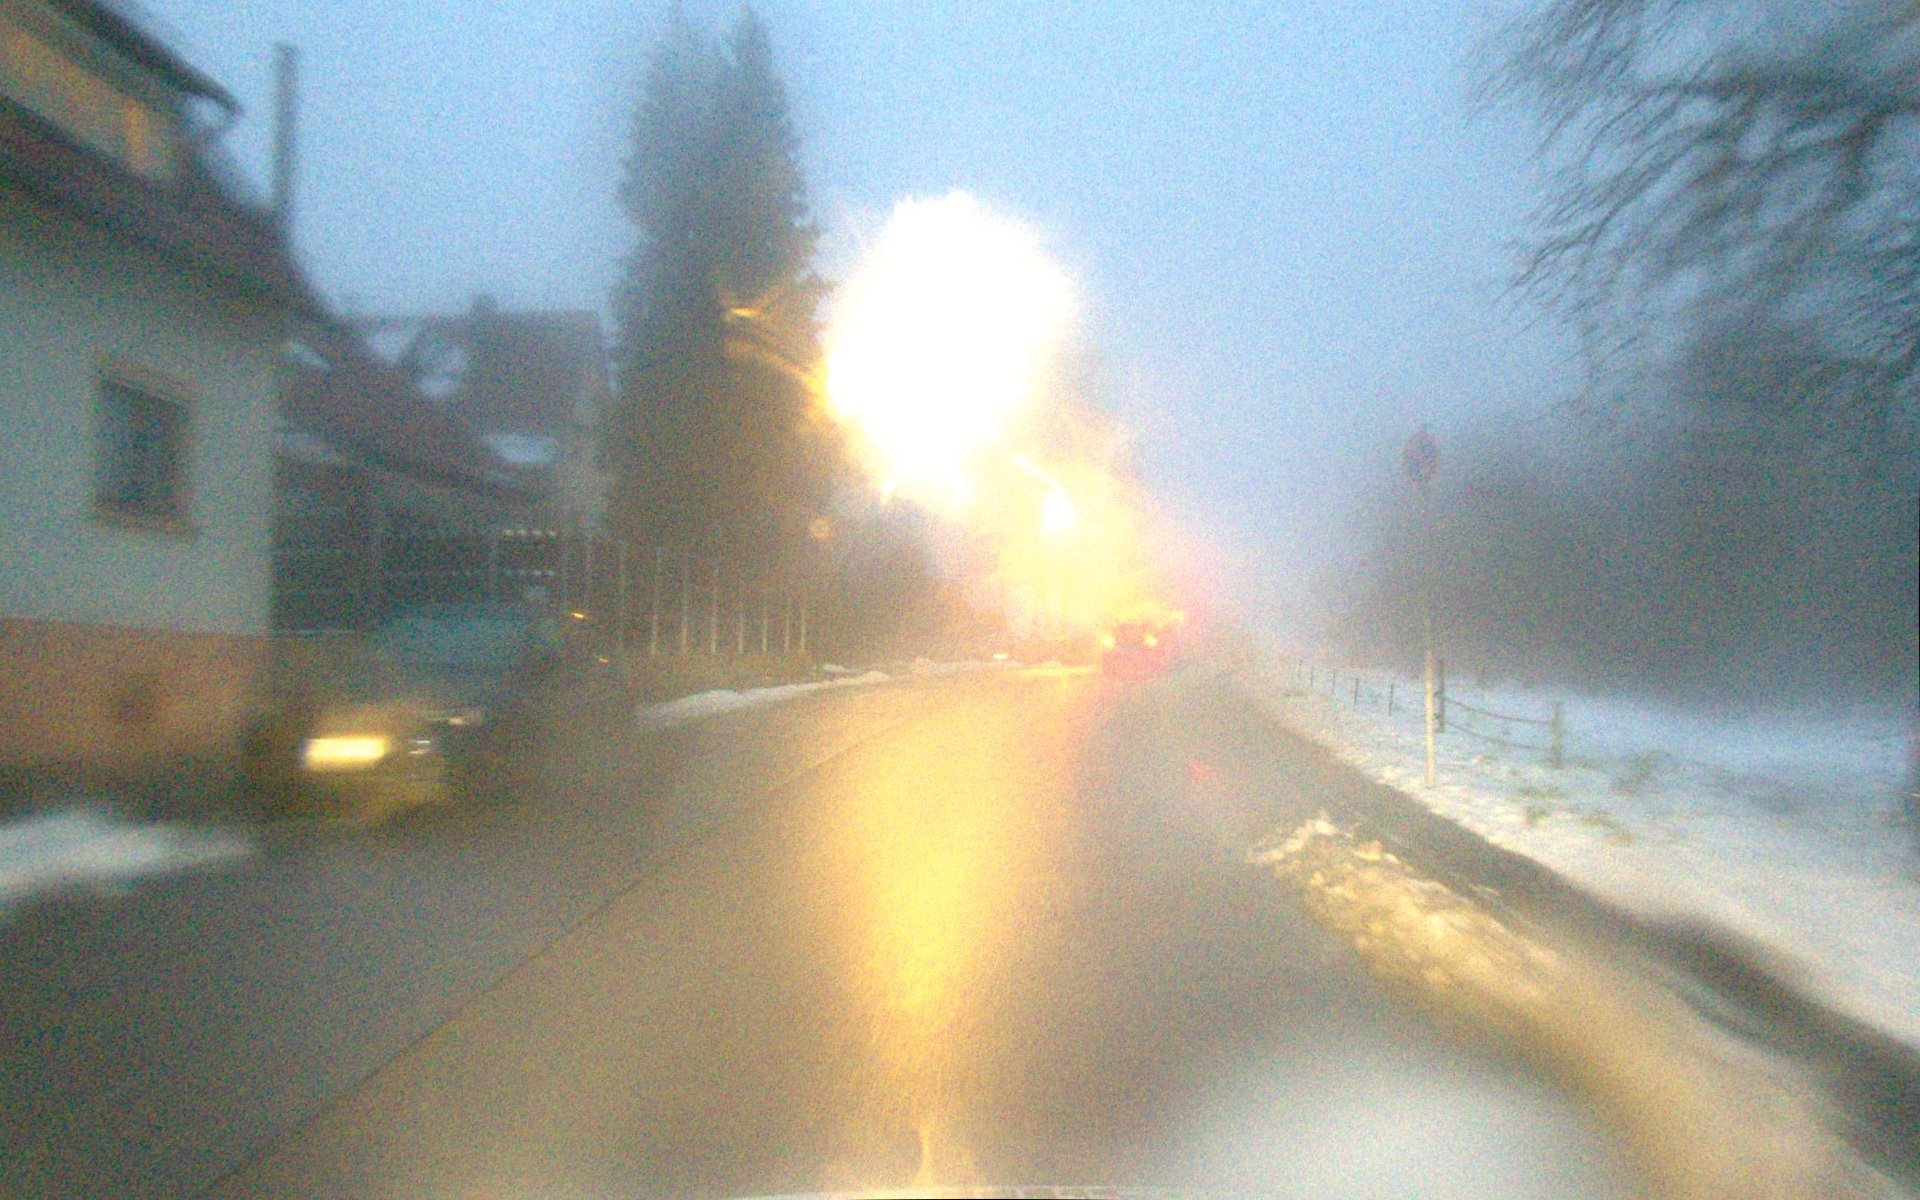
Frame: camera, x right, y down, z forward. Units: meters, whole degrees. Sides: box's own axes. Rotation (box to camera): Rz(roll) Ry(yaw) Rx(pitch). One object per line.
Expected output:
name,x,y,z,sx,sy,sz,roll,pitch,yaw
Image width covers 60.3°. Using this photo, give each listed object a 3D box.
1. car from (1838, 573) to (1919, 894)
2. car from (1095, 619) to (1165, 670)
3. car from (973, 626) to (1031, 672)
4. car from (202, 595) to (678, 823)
car,6.375,0.762,6.808,4.357,1.405,2.037,5,0,5
car,5.148,1.322,49.667,1.951,1.445,4.003,0,-1,8
car,1.642,1.986,66.400,1.954,1.594,4.994,-3,-3,-2
car,-3.910,0.733,13.643,1.837,1.451,5.395,1,0,4
